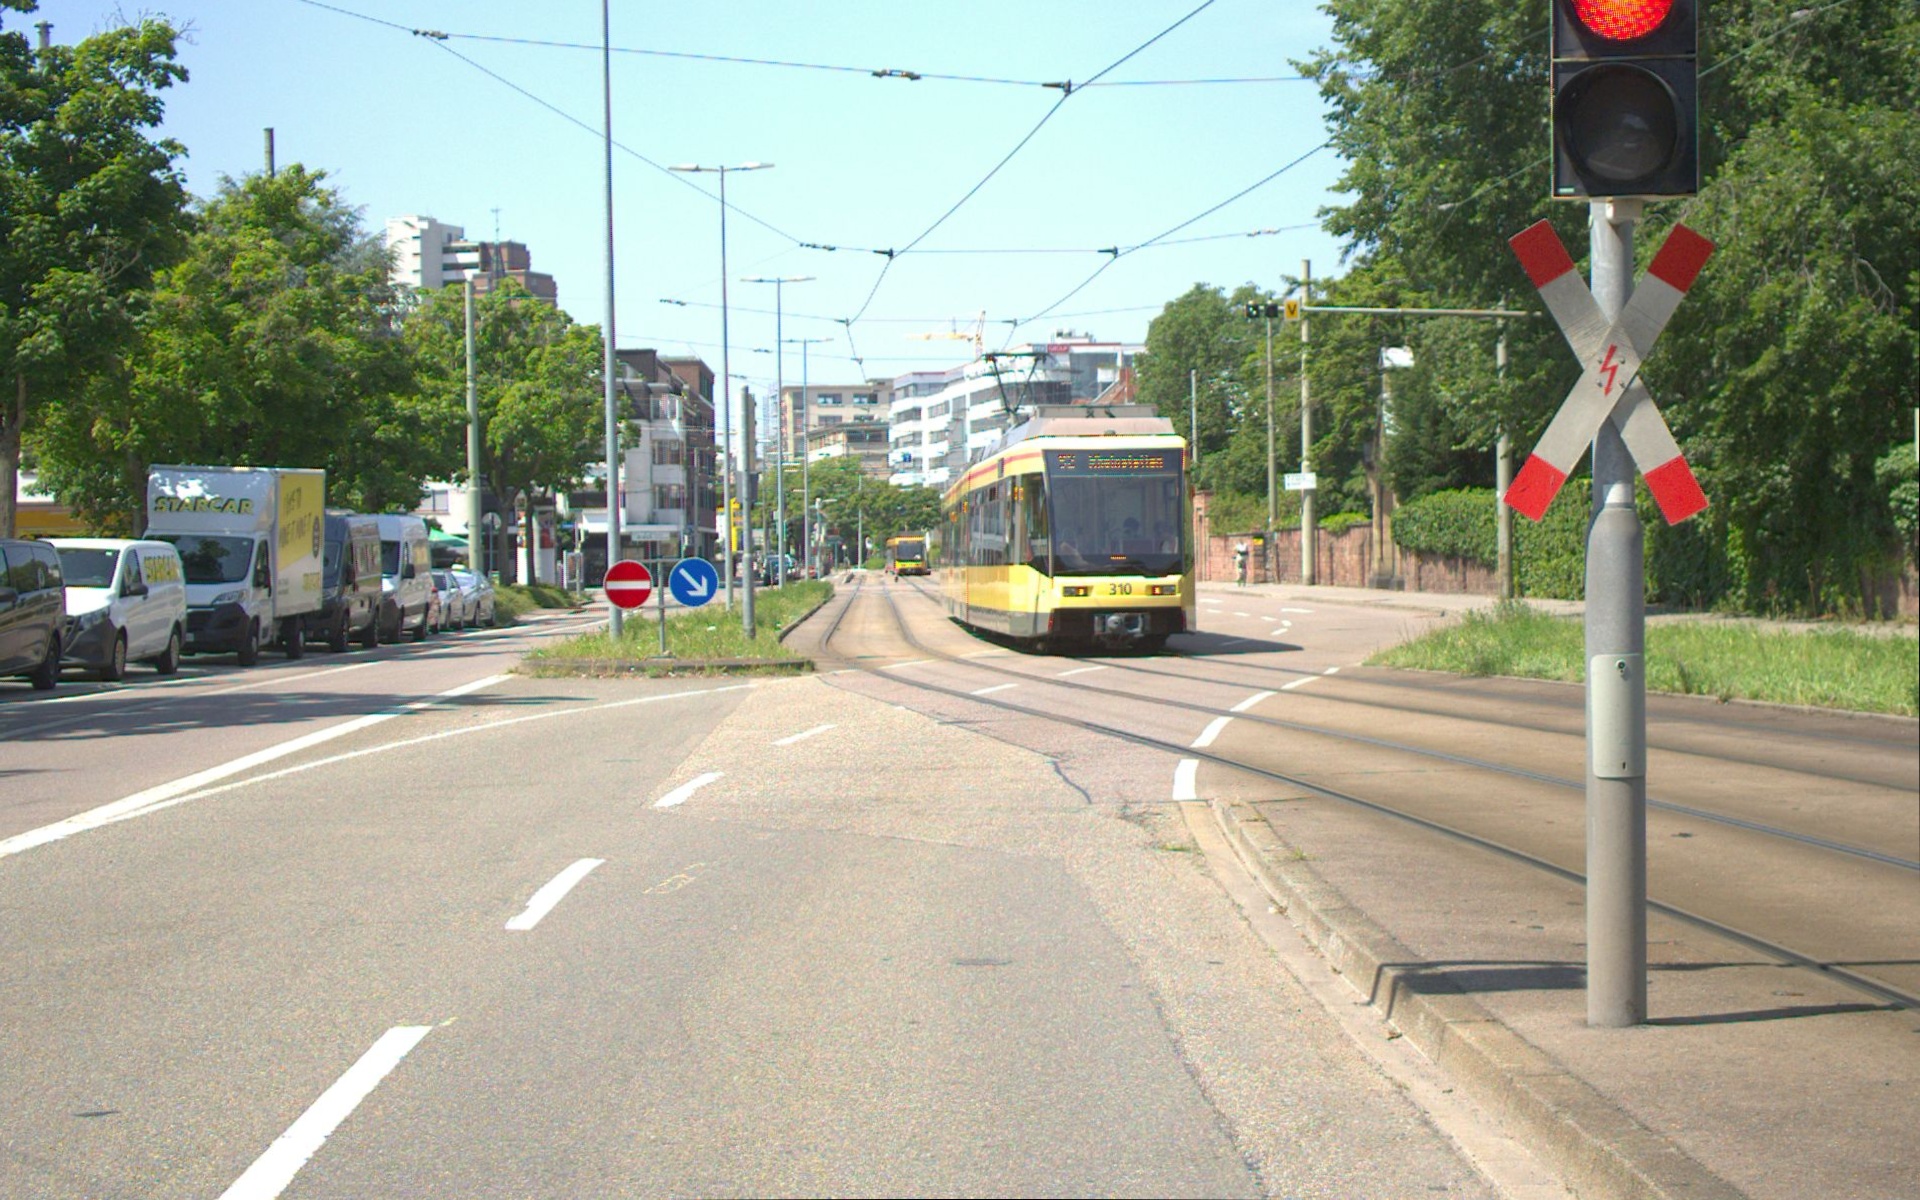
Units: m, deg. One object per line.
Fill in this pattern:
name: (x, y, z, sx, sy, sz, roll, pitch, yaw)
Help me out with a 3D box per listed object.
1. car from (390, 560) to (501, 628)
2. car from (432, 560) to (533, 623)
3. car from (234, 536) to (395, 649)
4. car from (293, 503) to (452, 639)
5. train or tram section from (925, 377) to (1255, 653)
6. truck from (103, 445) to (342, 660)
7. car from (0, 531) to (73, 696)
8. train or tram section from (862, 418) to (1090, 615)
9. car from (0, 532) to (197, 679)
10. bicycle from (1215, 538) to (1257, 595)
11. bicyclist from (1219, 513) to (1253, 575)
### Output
car: (-12.696, -0.174, 85.109, 2.061, 1.576, 4.871, -1, 1, -1)
car: (-12.795, -0.243, 92.304, 2.061, 1.576, 4.871, -1, 1, -1)
car: (-11.867, -0.177, 63.510, 2.061, 1.970, 4.871, -1, 1, -1)
car: (-12.102, -0.637, 71.158, 2.157, 2.630, 5.611, 2, 1, 1)
train or tram section: (1.649, -1.324, 55.175, 2.943, 3.679, 18.393, 0, 1, -5)
truck: (-11.907, -0.798, 56.037, 2.157, 3.199, 7.082, 2, 1, 1)
car: (-11.938, 0.155, 40.505, 1.868, 1.888, 4.271, -1, 1, -1)
train or tram section: (0.014, -1.760, 74.330, 2.943, 3.679, 20.288, 0, 1, -5)
car: (-12.103, 0.033, 47.467, 2.061, 1.891, 4.871, -1, 1, -1)
bicycle: (9.483, -1.173, 118.304, 1.092, 1.901, 3.682, -1, 1, 0)
bicyclist: (9.495, -1.921, 118.303, 1.096, 2.101, 1.031, 0, 0, -1)
